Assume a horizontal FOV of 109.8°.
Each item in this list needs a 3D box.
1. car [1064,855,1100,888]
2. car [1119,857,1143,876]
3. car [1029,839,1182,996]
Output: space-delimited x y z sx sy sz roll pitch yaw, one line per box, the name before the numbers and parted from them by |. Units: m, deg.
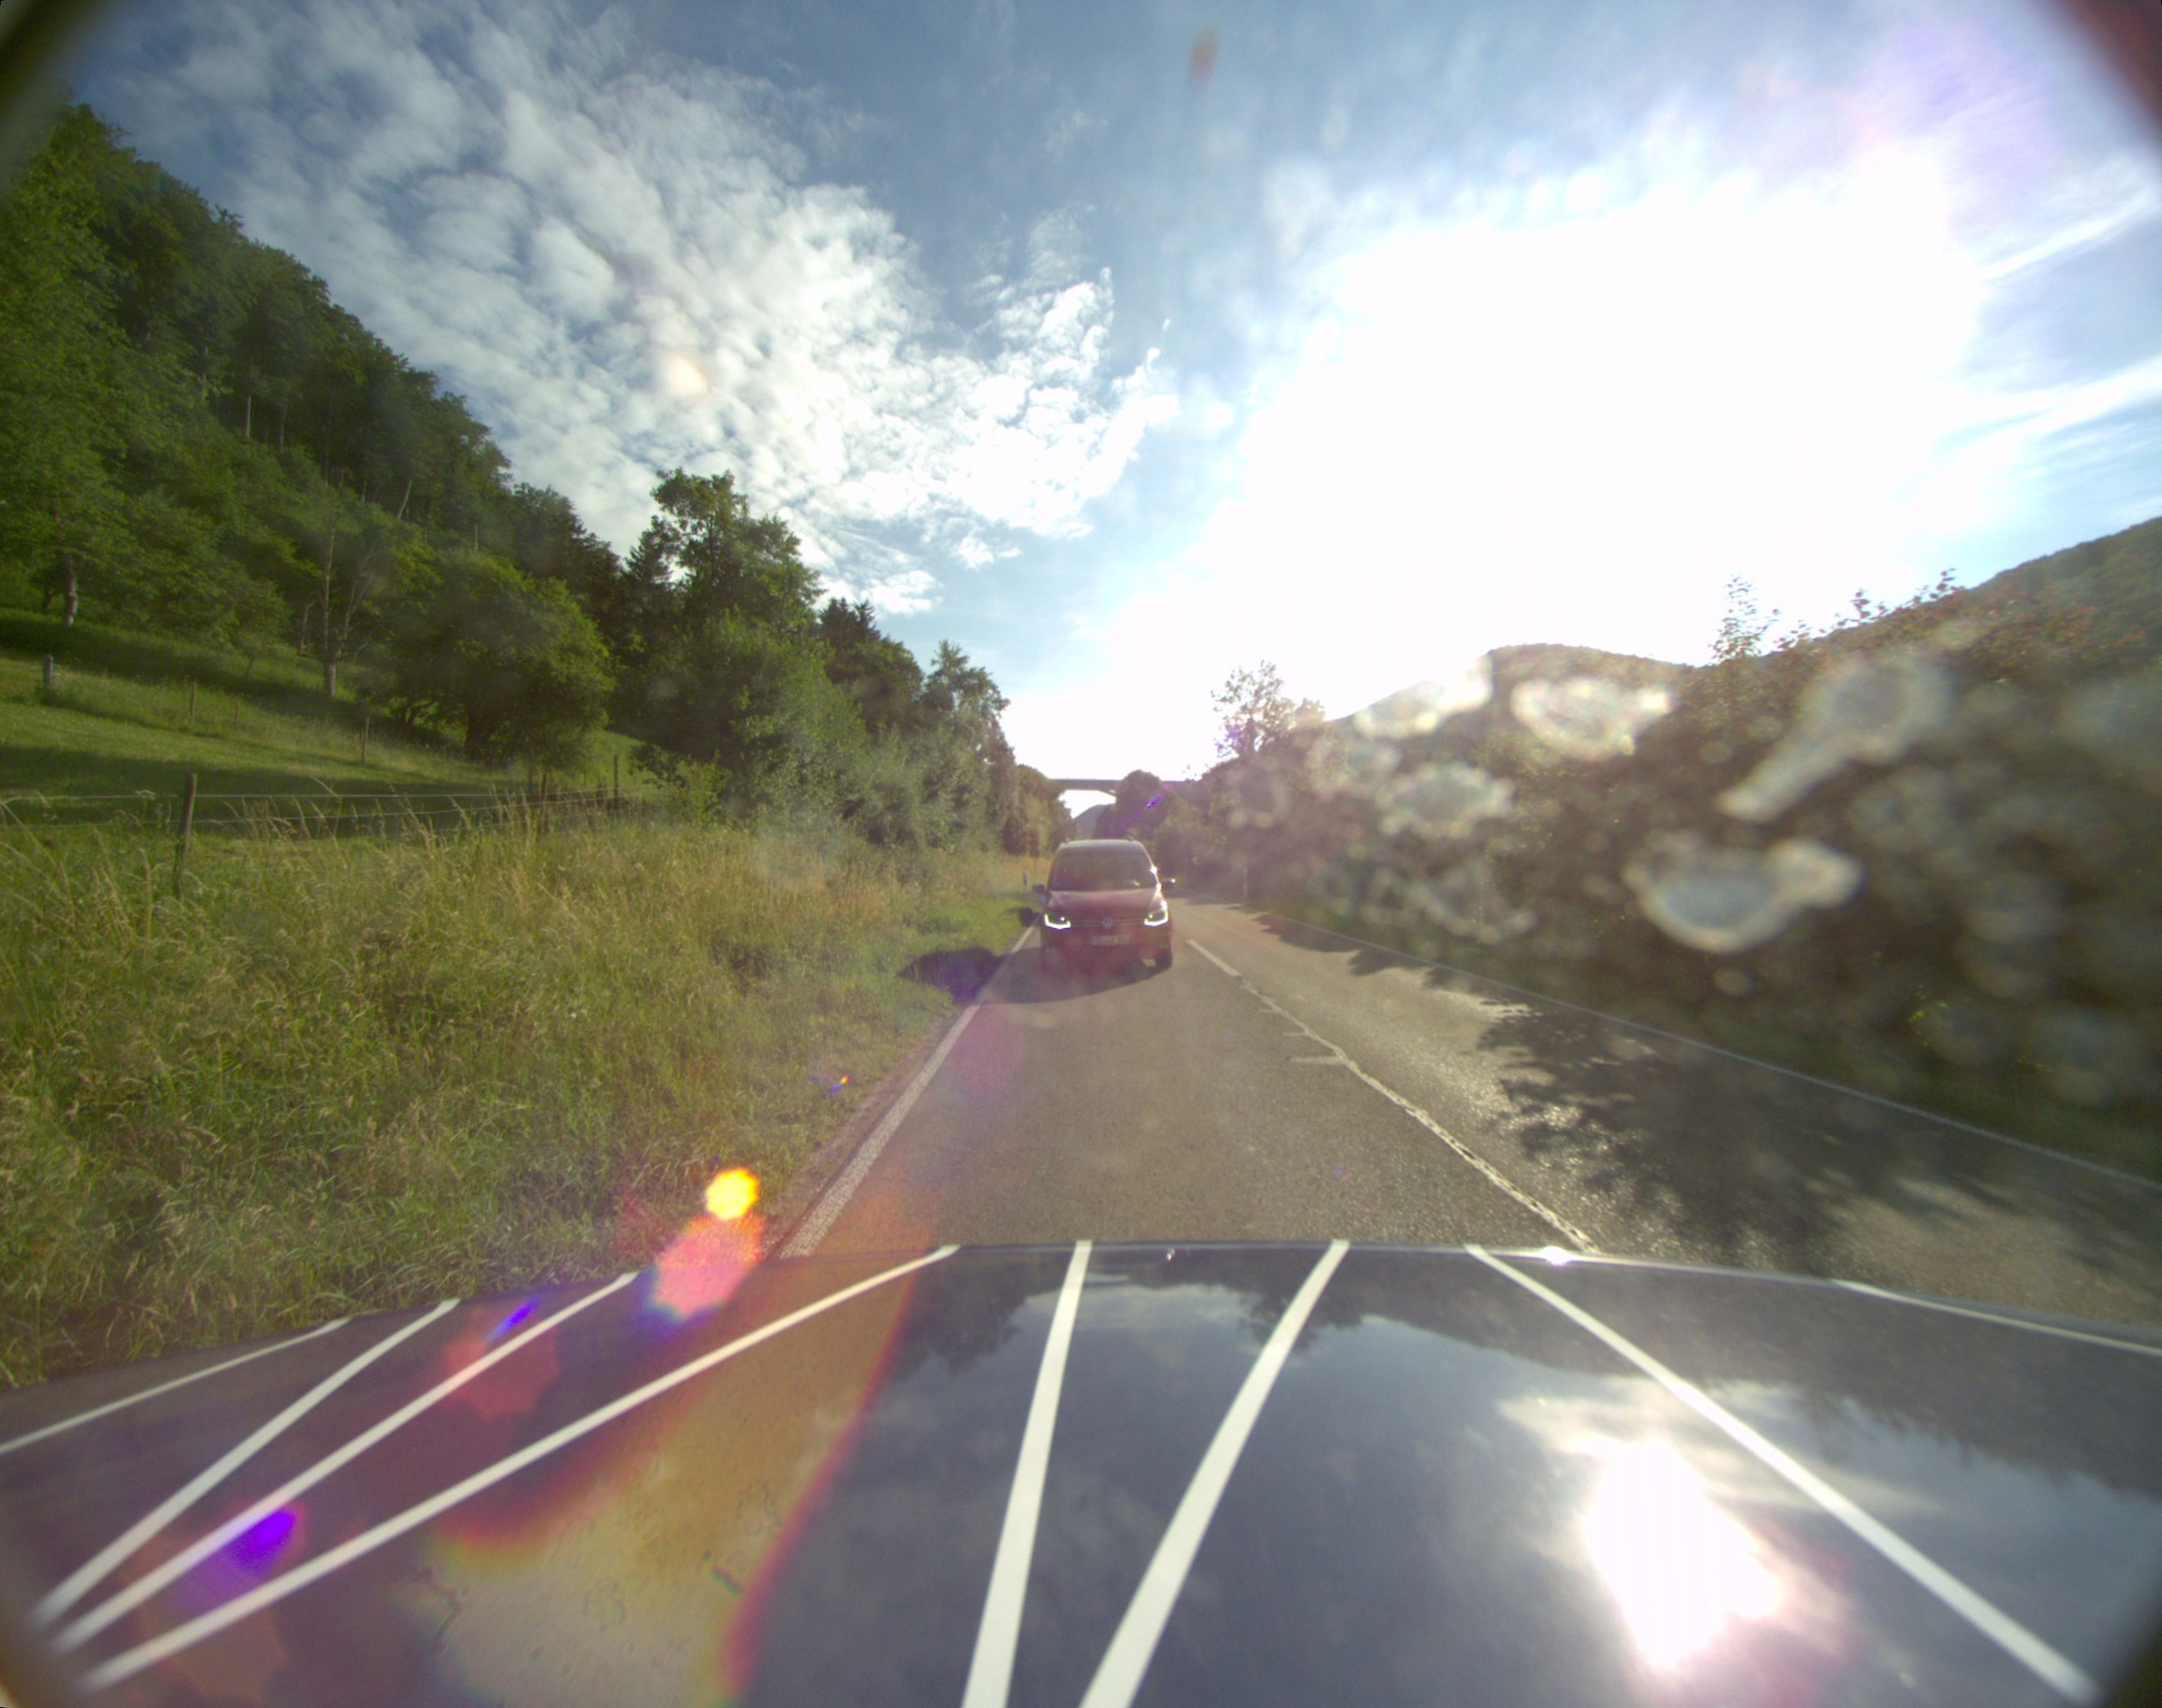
car | 0.069 0.912 41.150 1.753 1.608 4.288 -2 1 0
car | 3.829 0.963 58.994 1.631 1.407 3.789 0 0 0
car | 0.310 0.739 11.172 1.753 1.799 4.288 -2 1 0
